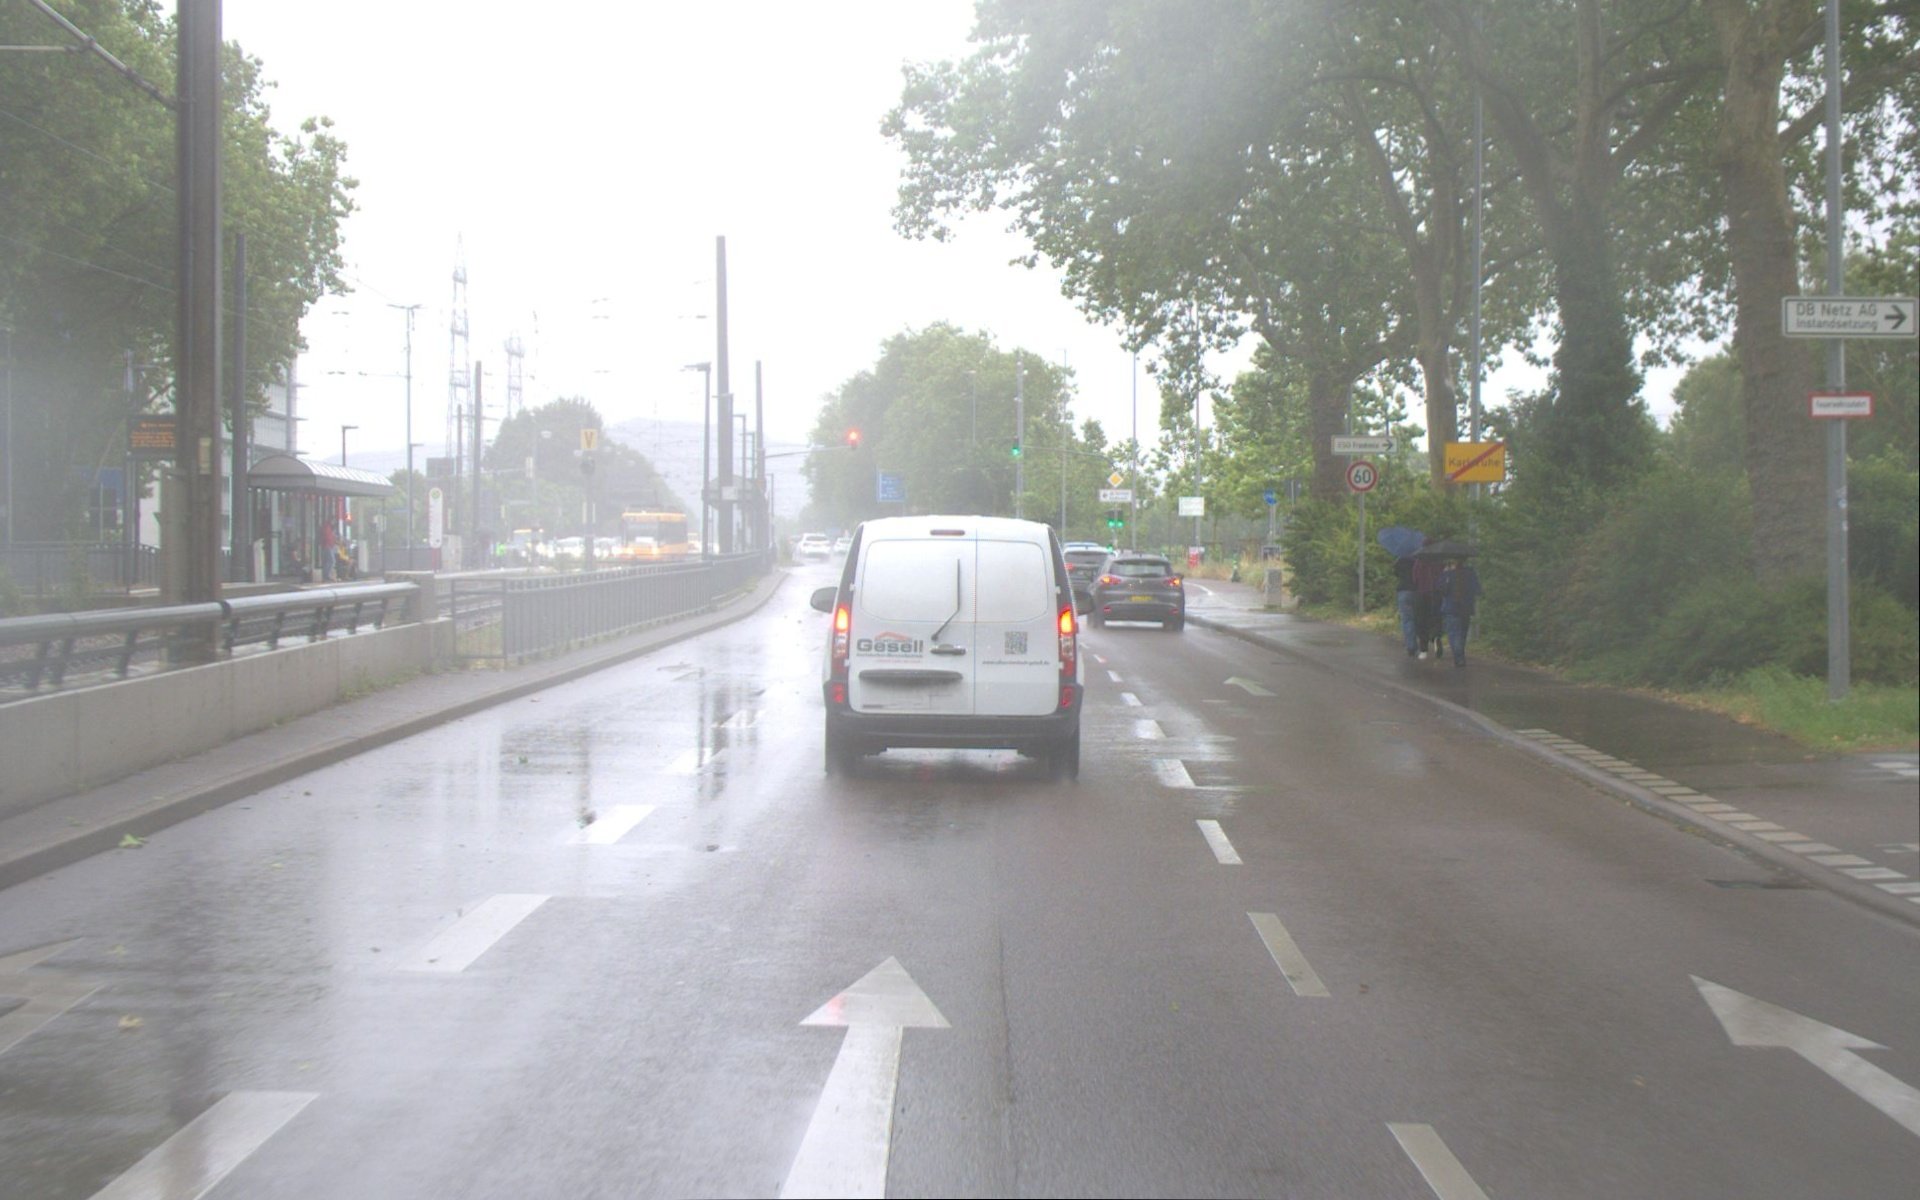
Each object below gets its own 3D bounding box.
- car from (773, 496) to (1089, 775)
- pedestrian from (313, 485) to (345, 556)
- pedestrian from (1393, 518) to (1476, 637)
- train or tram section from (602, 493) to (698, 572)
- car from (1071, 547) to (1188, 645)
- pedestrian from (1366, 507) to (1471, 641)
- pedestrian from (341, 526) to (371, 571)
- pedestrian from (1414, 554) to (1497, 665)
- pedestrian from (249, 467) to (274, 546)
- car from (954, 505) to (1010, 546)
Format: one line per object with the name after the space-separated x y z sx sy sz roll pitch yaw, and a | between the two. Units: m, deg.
-0.282 0.205 24.859 2.024 1.769 4.275 2 1 -3 | car
-17.401 -2.201 94.822 0.621 1.926 0.814 2 1 4 | pedestrian
6.418 -0.308 46.575 0.947 1.583 1.294 0 1 1 | pedestrian
-17.452 -3.769 195.665 3.770 4.022 27.096 2 1 -2 | train or tram section
3.225 -0.097 66.016 1.993 1.744 4.000 2 1 0 | car
6.417 -0.367 48.203 1.240 1.779 1.147 -3 1 1 | pedestrian
-17.626 -1.505 100.322 0.643 1.298 0.814 2 1 4 | pedestrian
6.321 0.116 43.872 0.892 1.385 1.016 -1 1 1 | pedestrian
-18.002 -2.396 88.609 0.493 2.007 0.582 2 1 -4 | pedestrian
0.951 -3.290 152.002 1.993 1.744 4.001 2 1 -6 | car
